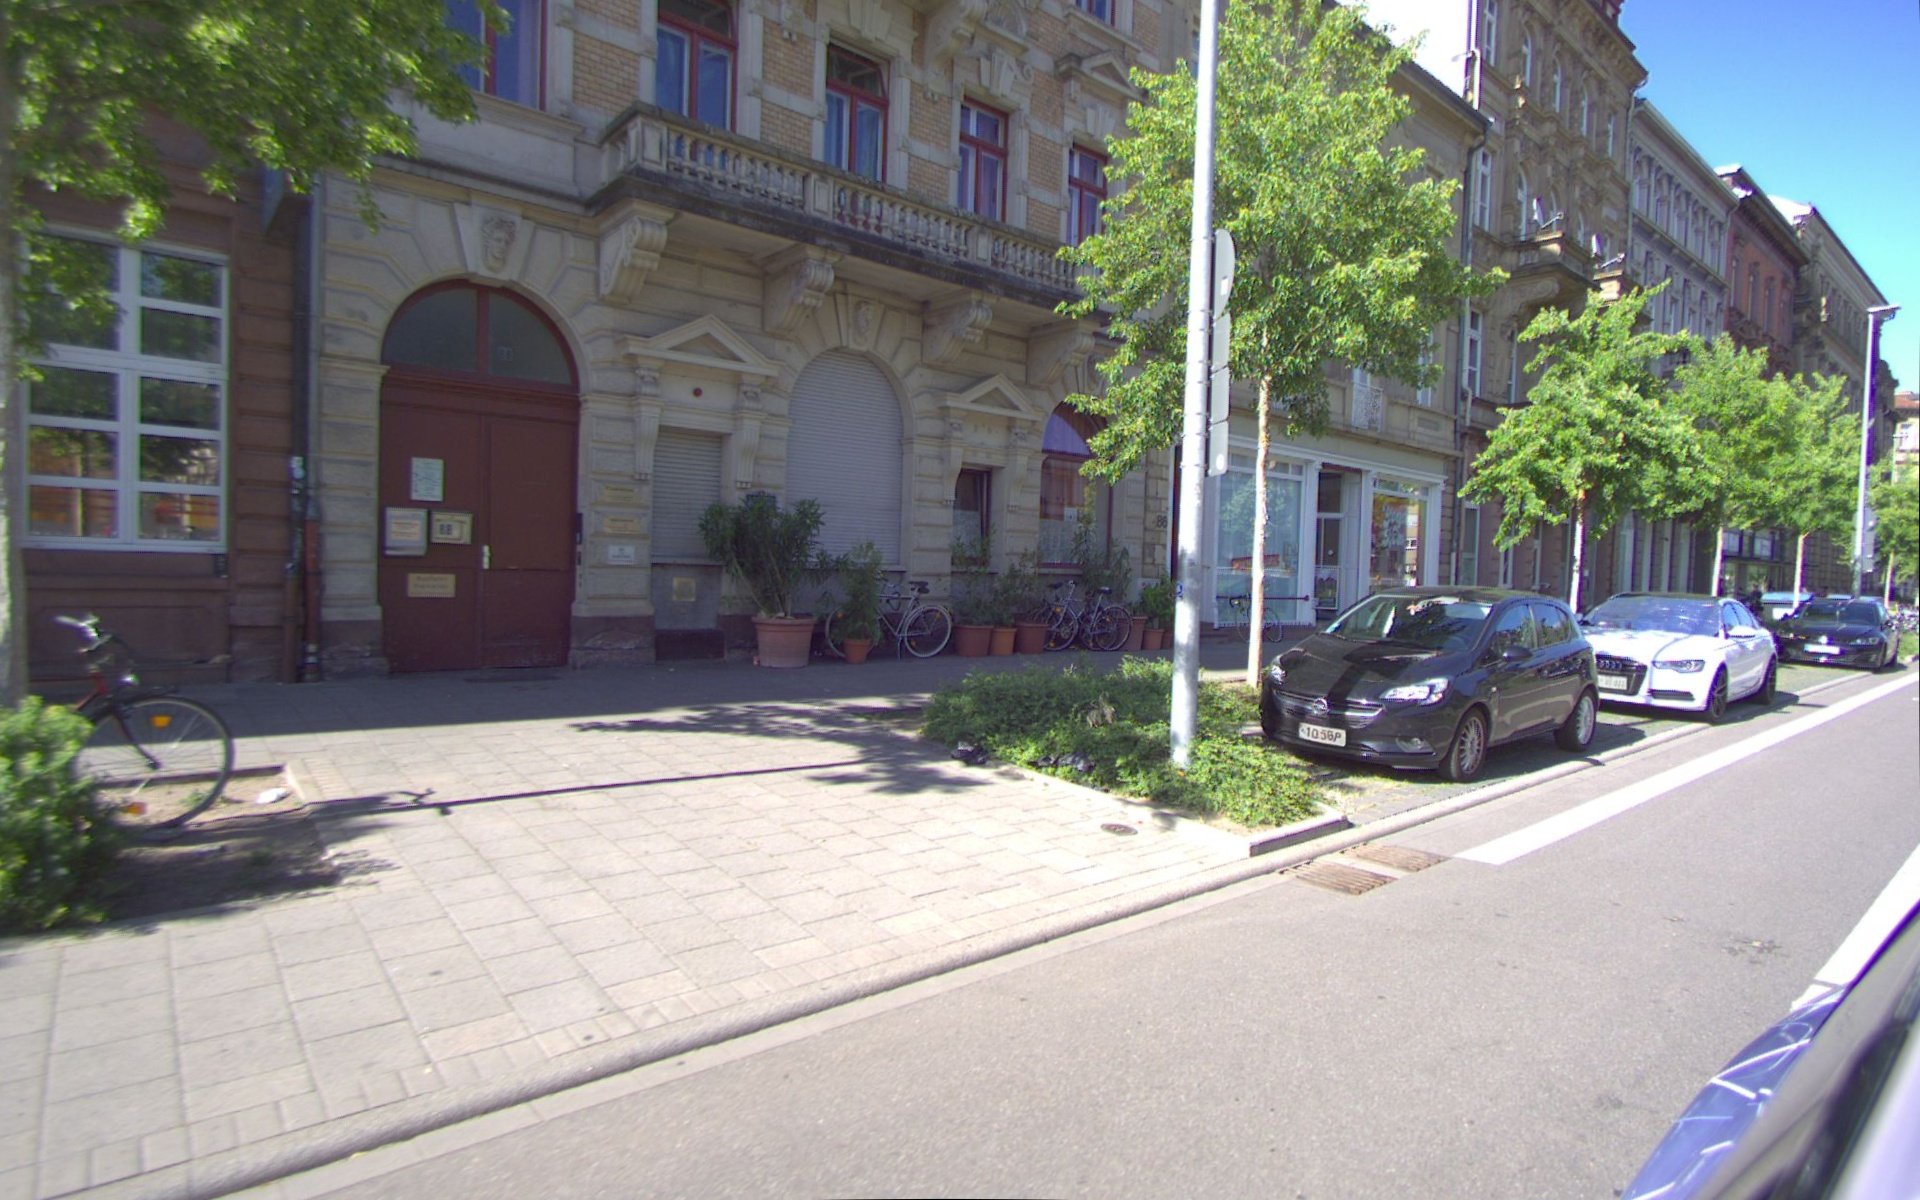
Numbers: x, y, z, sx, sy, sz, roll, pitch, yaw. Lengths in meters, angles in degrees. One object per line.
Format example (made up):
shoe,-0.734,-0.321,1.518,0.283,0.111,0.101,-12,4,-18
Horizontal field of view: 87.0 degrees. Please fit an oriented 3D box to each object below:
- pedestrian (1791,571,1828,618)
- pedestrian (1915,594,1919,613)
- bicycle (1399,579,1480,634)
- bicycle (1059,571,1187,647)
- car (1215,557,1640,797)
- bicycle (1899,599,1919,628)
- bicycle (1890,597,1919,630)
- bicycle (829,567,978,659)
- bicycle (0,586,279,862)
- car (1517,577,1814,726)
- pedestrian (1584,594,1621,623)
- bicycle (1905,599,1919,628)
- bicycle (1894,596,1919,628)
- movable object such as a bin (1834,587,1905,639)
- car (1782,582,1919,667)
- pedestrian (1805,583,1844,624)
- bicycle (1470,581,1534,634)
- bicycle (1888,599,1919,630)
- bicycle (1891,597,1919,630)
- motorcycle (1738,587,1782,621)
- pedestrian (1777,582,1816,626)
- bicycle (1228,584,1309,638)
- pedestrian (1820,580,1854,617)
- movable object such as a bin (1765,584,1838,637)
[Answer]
pedestrian,36.861,-0.236,43.913,1.077,1.943,0.893,0,4,-35
pedestrian,60.925,0.225,63.979,0.866,1.197,0.719,-1,3,-41
bicycle,10.904,0.134,22.975,2.145,1.118,0.877,0,5,-44
bicycle,2.587,0.125,15.870,2.160,1.103,0.723,0,3,-41
car,4.355,0.489,9.153,4.147,1.588,1.888,-1,5,-41
bicycle,37.859,0.579,39.402,1.816,1.068,0.562,5,4,44
bicycle,35.508,0.560,37.090,0.474,1.137,1.977,1,5,-45
bicycle,-0.701,0.152,13.149,2.020,1.103,0.482,0,3,-41
bicycle,-4.353,0.531,4.478,0.650,1.133,2.138,5,4,44
car,9.450,0.540,13.374,5.015,1.513,1.956,0,4,-41
pedestrian,19.100,0.250,30.076,0.867,0.828,0.968,1,2,36
bicycle,38.979,0.577,40.318,0.509,1.122,1.893,-1,4,-45
bicycle,36.644,0.524,38.016,2.142,1.168,0.424,7,5,37
movable object such as a bin,27.670,0.393,30.775,1.612,1.482,1.275,3,-1,-36
car,18.975,0.429,21.441,4.374,1.494,1.769,-1,5,-43
pedestrian,34.582,0.136,40.485,1.061,1.586,0.952,2,2,-41
bicycle,13.292,0.161,24.812,1.769,1.215,0.749,-1,4,-41
bicycle,36.808,0.595,38.348,2.279,1.115,0.480,5,4,36
bicycle,35.807,0.552,37.358,2.045,1.120,0.601,7,5,44
motorcycle,32.387,0.136,40.951,2.930,1.282,0.867,-1,2,-41
pedestrian,33.503,0.159,40.545,0.975,1.659,0.973,2,2,-40
bicycle,5.794,0.191,18.957,1.977,0.957,0.448,0,1,-41
pedestrian,41.871,-0.078,48.322,1.094,1.712,0.972,0,4,-39
movable object such as a bin,26.521,0.298,31.894,1.718,1.513,1.377,-1,5,-39
